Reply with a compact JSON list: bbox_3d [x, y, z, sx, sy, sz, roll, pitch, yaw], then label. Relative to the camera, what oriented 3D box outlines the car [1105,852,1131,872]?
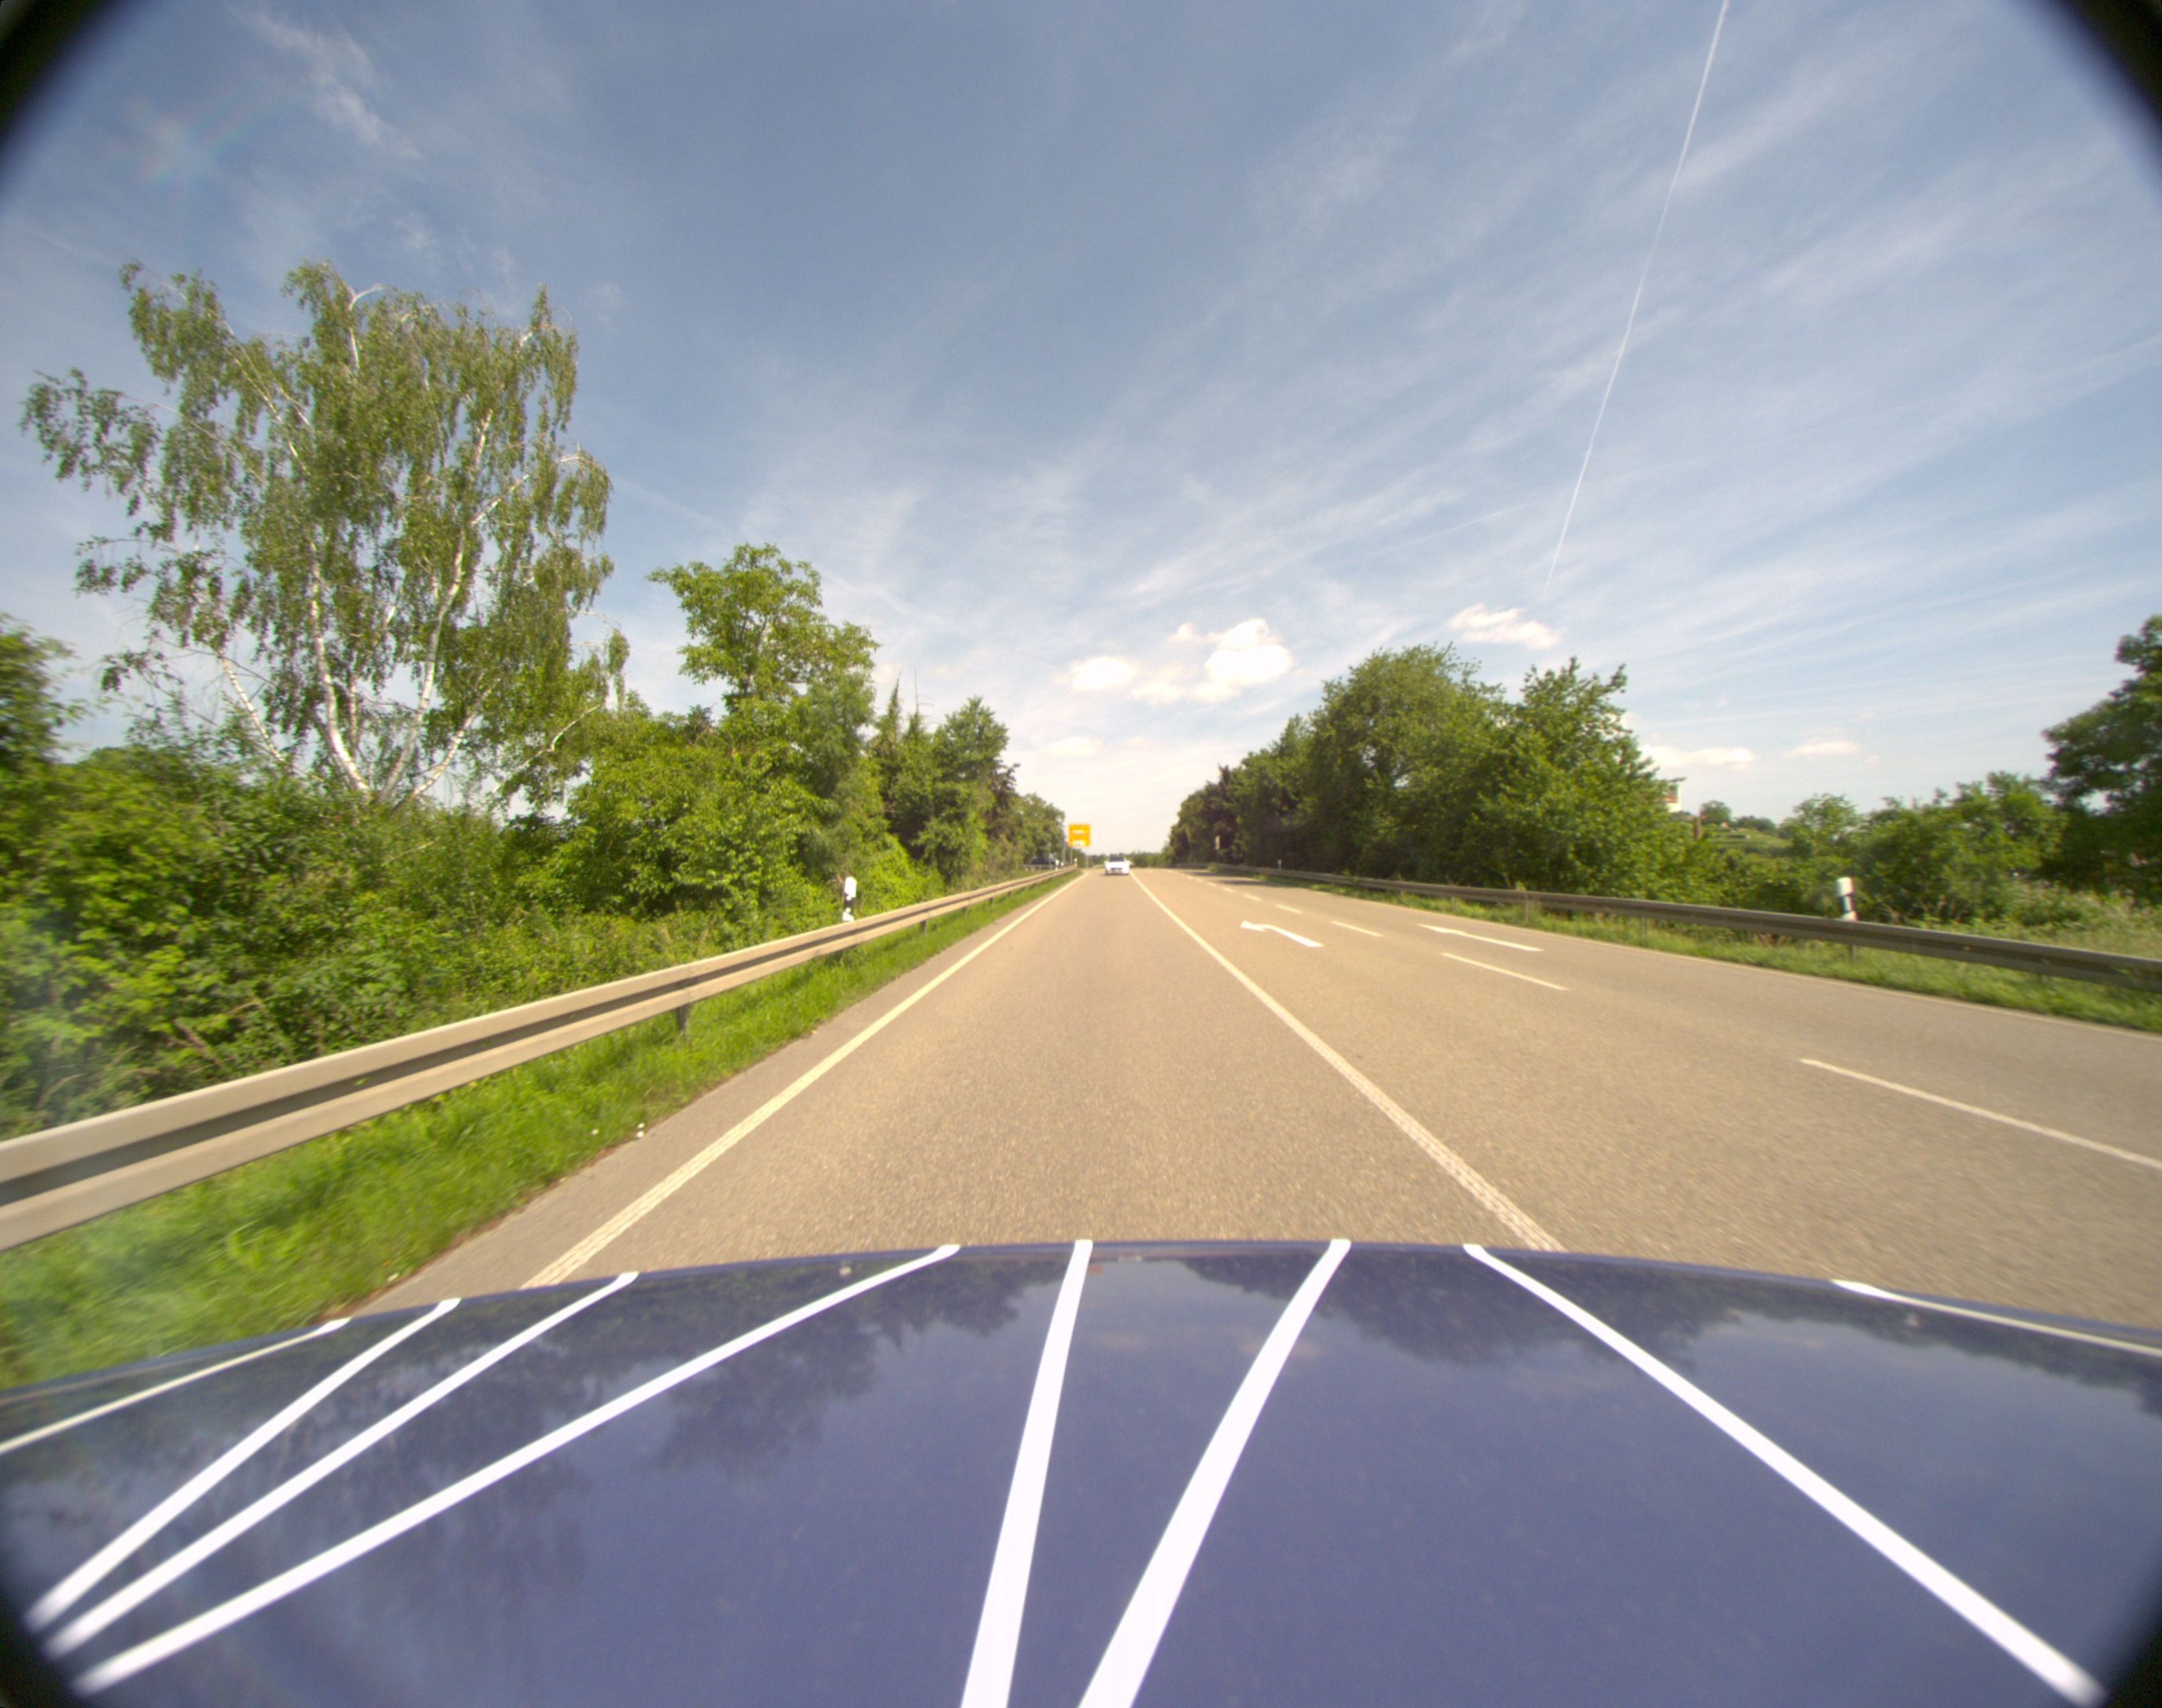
[{"bbox_3d":[2.893,0.579,59.644,1.929,1.441,4.534,-1,1,2],"label":"car"}]

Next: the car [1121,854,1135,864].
[{"bbox_3d":[7.014,0.738,113.615,1.929,1.441,4.078,0,-1,3],"label":"car"}]
